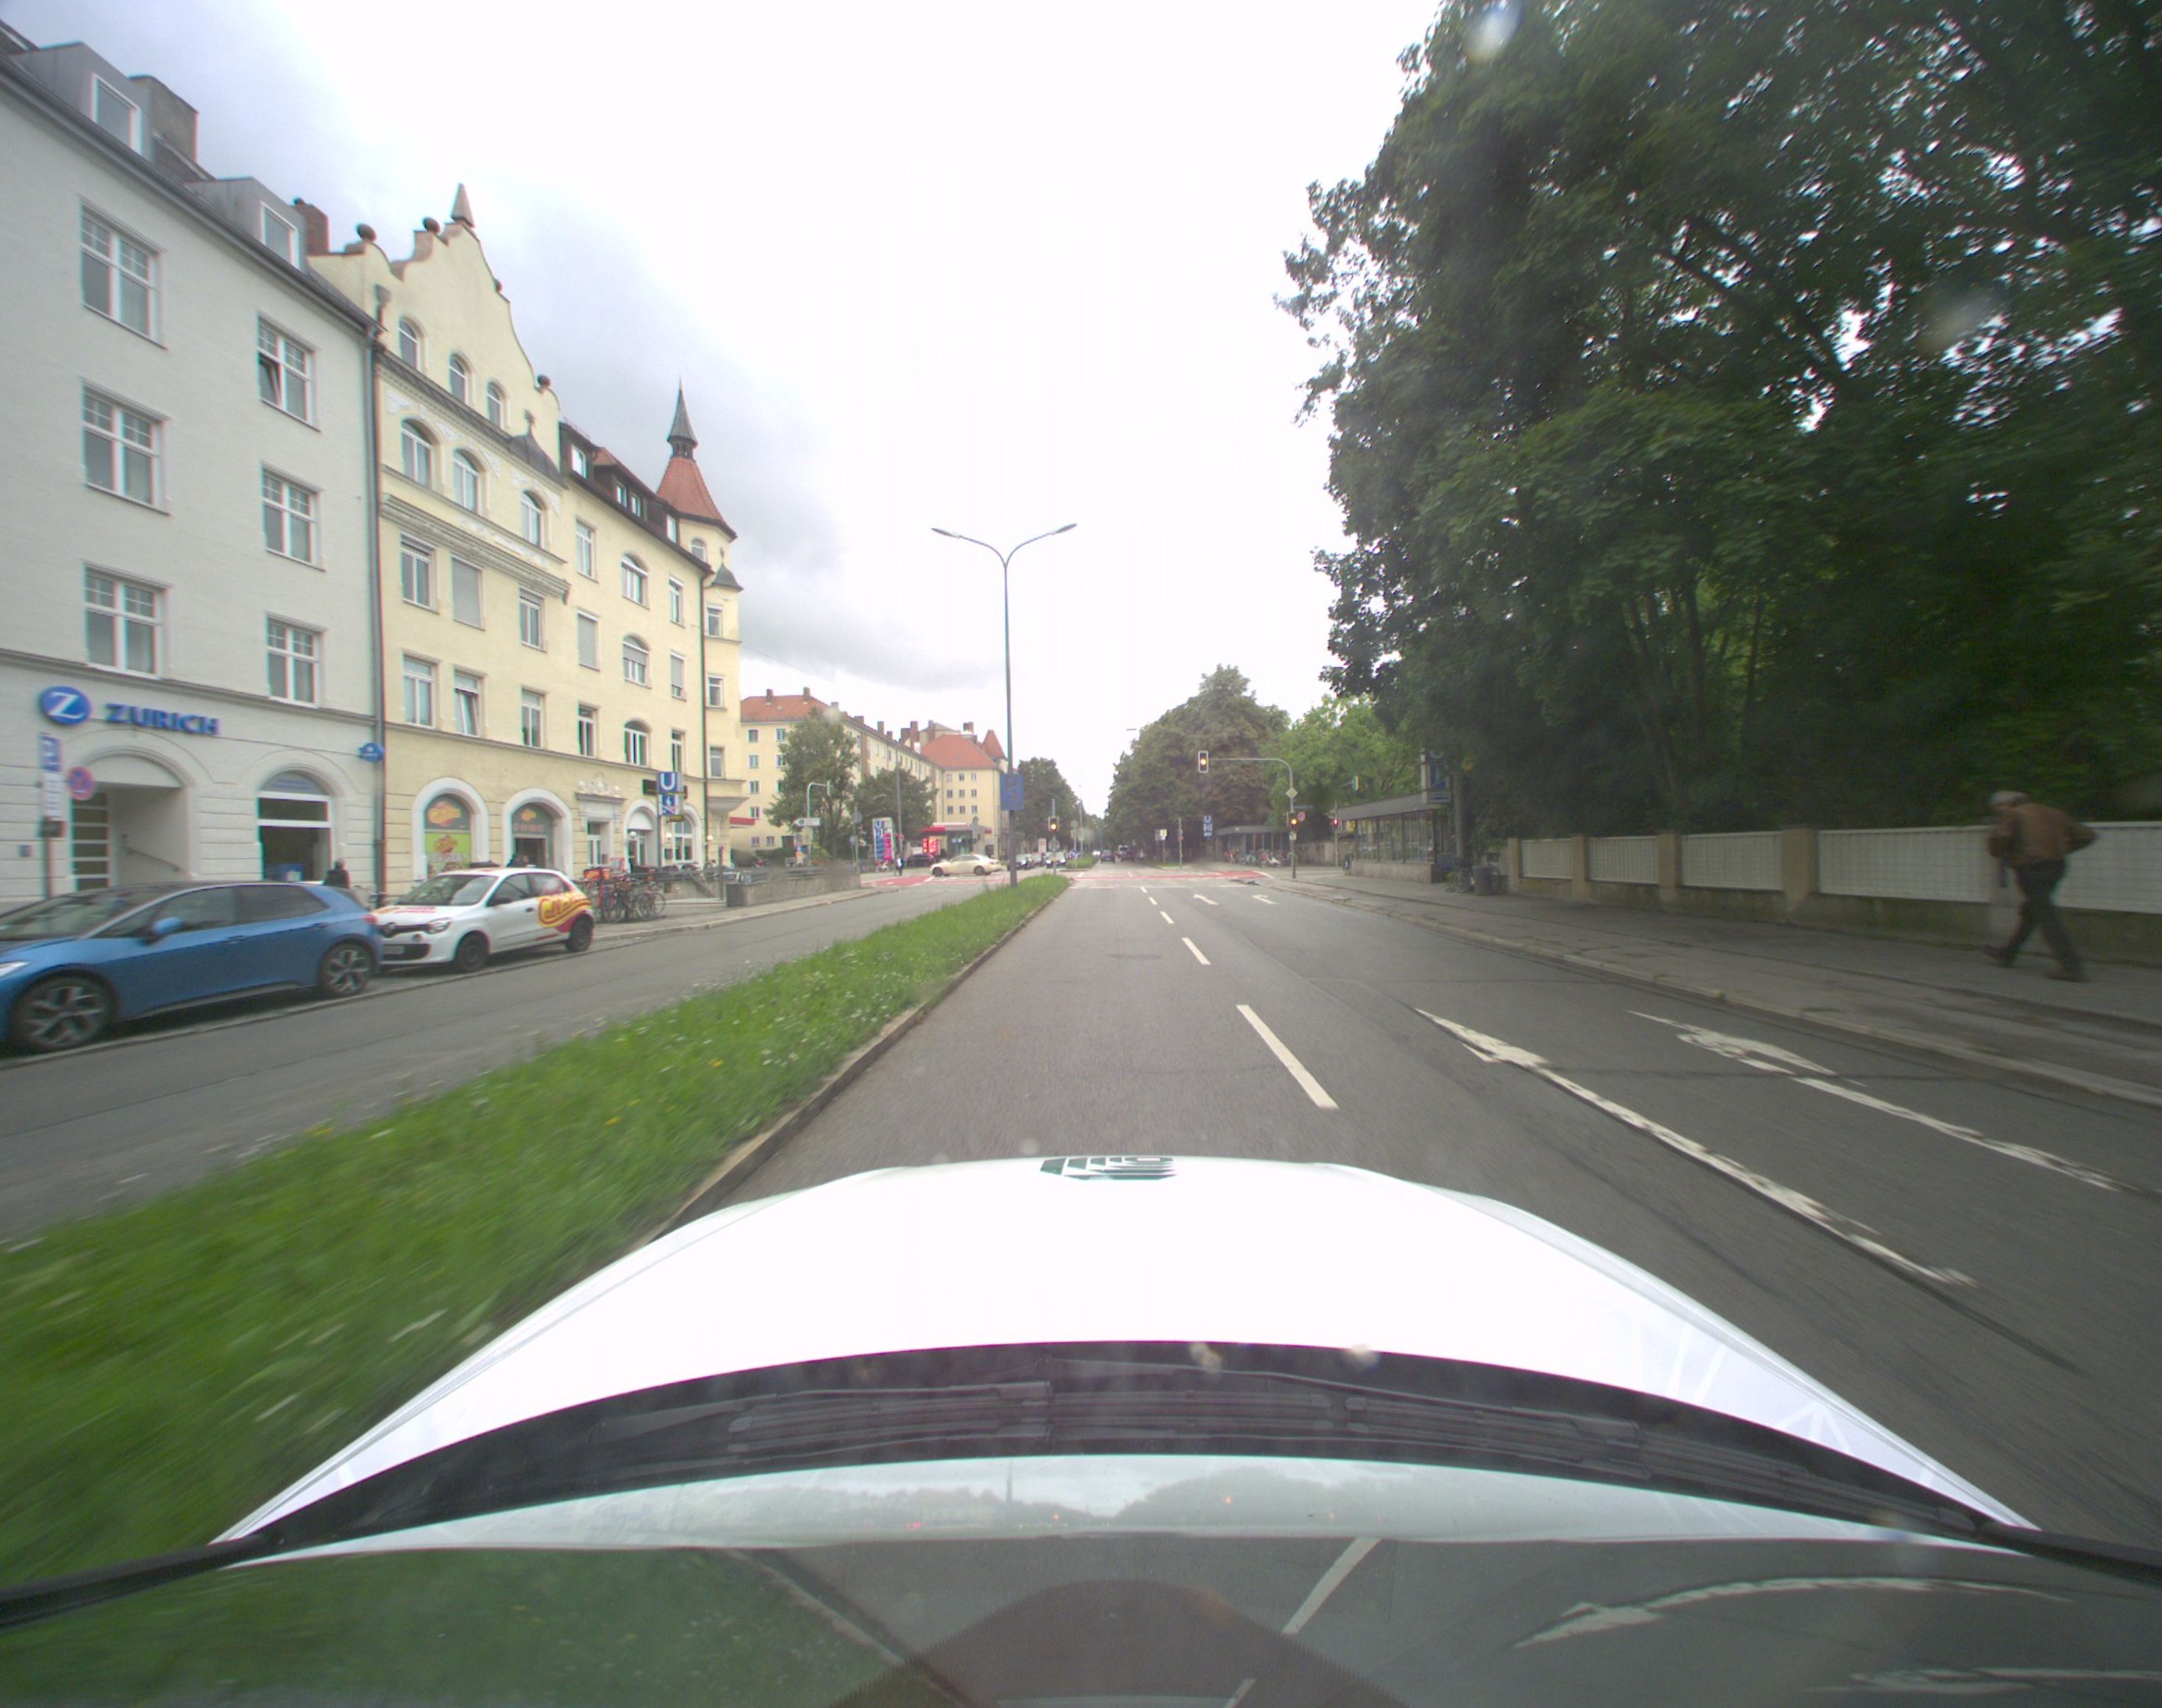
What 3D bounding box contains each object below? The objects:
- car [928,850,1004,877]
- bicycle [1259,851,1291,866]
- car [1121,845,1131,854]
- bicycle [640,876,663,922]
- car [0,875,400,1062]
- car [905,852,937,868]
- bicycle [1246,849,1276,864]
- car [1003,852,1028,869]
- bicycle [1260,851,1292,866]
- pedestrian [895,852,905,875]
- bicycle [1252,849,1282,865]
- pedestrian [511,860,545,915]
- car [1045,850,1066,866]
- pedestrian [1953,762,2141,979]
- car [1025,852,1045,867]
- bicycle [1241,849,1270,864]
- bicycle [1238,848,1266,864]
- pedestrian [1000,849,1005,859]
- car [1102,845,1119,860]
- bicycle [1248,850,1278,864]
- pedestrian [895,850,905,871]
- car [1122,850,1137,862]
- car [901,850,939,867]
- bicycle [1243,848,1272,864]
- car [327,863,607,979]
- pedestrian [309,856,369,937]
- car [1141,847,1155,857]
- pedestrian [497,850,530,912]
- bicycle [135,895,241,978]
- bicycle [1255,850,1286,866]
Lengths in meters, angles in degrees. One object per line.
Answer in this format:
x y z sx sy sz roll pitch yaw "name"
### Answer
-7.757 0.645 55.198 4.734 1.647 1.791 -1 0 11 "car"
13.702 0.329 57.551 2.130 1.014 0.604 -1 0 10 "bicycle"
9.003 -0.959 163.560 1.986 1.756 4.001 -2 0 1 "car"
-11.366 1.162 21.563 0.330 1.115 1.669 -1 0 -21 "bicycle"
-10.305 1.077 9.005 1.803 1.507 4.293 -1 0 2 "car"
-21.818 0.764 111.060 3.977 2.013 1.889 -1 0 -3 "car"
13.500 0.187 61.089 2.130 1.086 0.604 -1 0 10 "bicycle"
-5.819 0.570 72.697 1.753 1.460 4.002 -2 0 2 "car"
13.923 0.310 58.170 2.130 1.014 0.636 -1 0 10 "bicycle"
-13.516 0.687 60.750 0.531 1.695 0.579 -1 0 10 "pedestrian"
13.617 0.229 59.640 2.130 1.101 0.604 -1 0 10 "bicycle"
-16.832 0.998 24.797 0.420 1.631 0.783 -2 0 2 "pedestrian"
-2.391 0.371 77.922 1.753 1.493 4.002 -2 0 2 "car"
9.239 0.149 7.829 0.774 1.942 0.803 -3 0 2 "pedestrian"
-5.025 0.567 88.682 1.753 1.460 4.002 -2 0 2 "car"
13.392 0.198 62.533 2.130 1.062 0.604 -1 0 10 "bicycle"
13.479 0.129 64.132 2.130 1.218 0.604 -1 0 10 "bicycle"
-12.904 0.050 133.804 0.693 1.638 0.738 -2 0 2 "pedestrian"
3.404 -0.223 94.707 1.850 1.684 4.002 -2 0 2 "car"
13.514 0.224 60.358 2.130 1.014 0.604 -1 0 10 "bicycle"
-15.106 0.527 67.895 0.593 1.695 0.572 -1 0 -29 "pedestrian"
6.558 0.267 109.499 1.915 1.684 4.002 0 0 2 "car"
-18.464 0.480 93.549 3.975 1.838 1.880 -2 0 -1 "car"
13.395 0.139 61.830 2.130 1.178 0.604 -1 0 10 "bicycle"
-10.031 0.999 13.726 1.642 1.585 3.794 -1 0 4 "car"
-16.080 0.906 17.667 0.541 1.697 0.770 -1 0 0 "pedestrian"
9.879 -0.300 120.400 1.736 1.363 3.808 -2 0 2 "car"
-16.012 0.745 23.001 0.594 1.697 0.938 -2 0 -26 "pedestrian"
-13.960 1.247 12.789 0.506 1.115 1.970 -2 0 -30 "bicycle"
13.731 0.287 58.981 2.130 1.071 0.604 -1 0 10 "bicycle"
